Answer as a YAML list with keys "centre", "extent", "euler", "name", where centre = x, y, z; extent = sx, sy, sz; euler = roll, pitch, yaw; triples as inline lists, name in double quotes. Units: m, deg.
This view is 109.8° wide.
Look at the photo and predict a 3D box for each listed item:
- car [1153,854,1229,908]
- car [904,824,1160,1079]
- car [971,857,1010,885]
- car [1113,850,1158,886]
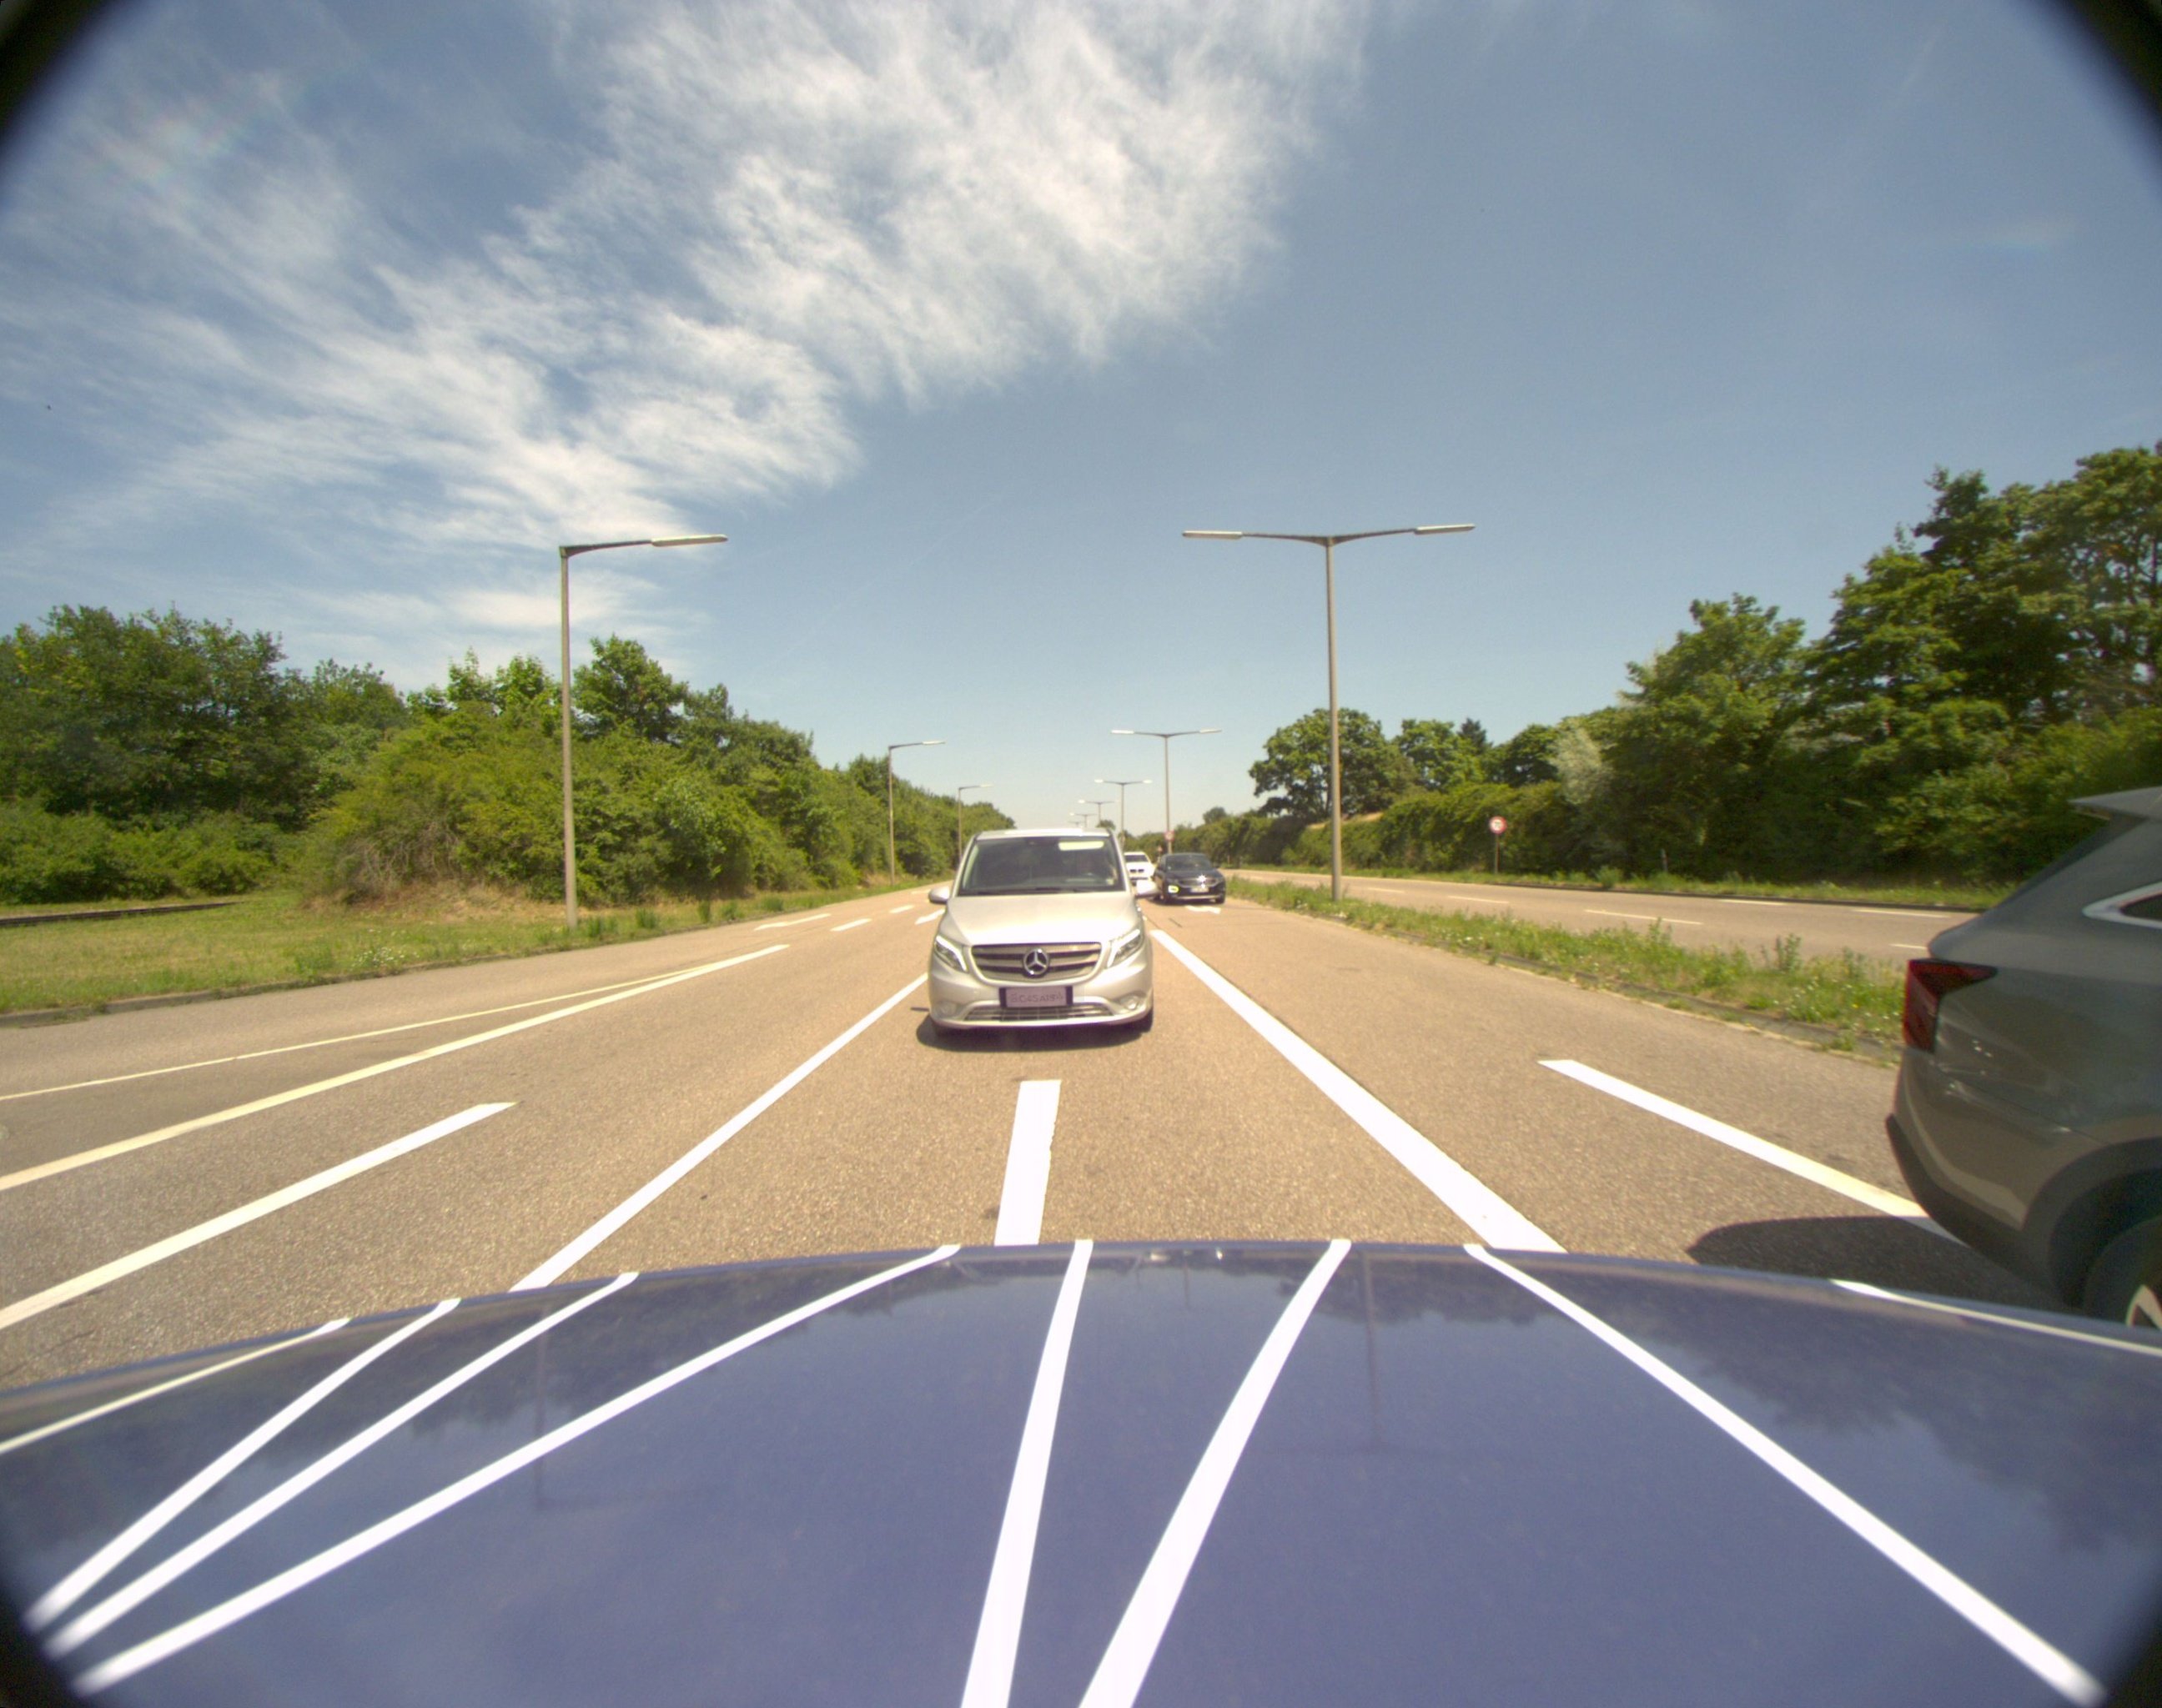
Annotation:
- centre: [3.332, 0.766, 23.673]
  extent: [1.753, 1.491, 4.000]
  euler: [-2, 0, 0]
  name: "car"
- centre: [-0.309, 0.727, 8.531]
  extent: [1.876, 1.866, 5.732]
  euler: [-1, 0, 1]
  name: "car"
- centre: [-5.450, 1.003, 46.336]
  extent: [1.722, 1.587, 4.001]
  euler: [-1, 0, 2]
  name: "car"
- centre: [2.720, 0.679, 38.940]
  extent: [1.921, 1.661, 4.001]
  euler: [-1, 1, -1]
  name: "car"
